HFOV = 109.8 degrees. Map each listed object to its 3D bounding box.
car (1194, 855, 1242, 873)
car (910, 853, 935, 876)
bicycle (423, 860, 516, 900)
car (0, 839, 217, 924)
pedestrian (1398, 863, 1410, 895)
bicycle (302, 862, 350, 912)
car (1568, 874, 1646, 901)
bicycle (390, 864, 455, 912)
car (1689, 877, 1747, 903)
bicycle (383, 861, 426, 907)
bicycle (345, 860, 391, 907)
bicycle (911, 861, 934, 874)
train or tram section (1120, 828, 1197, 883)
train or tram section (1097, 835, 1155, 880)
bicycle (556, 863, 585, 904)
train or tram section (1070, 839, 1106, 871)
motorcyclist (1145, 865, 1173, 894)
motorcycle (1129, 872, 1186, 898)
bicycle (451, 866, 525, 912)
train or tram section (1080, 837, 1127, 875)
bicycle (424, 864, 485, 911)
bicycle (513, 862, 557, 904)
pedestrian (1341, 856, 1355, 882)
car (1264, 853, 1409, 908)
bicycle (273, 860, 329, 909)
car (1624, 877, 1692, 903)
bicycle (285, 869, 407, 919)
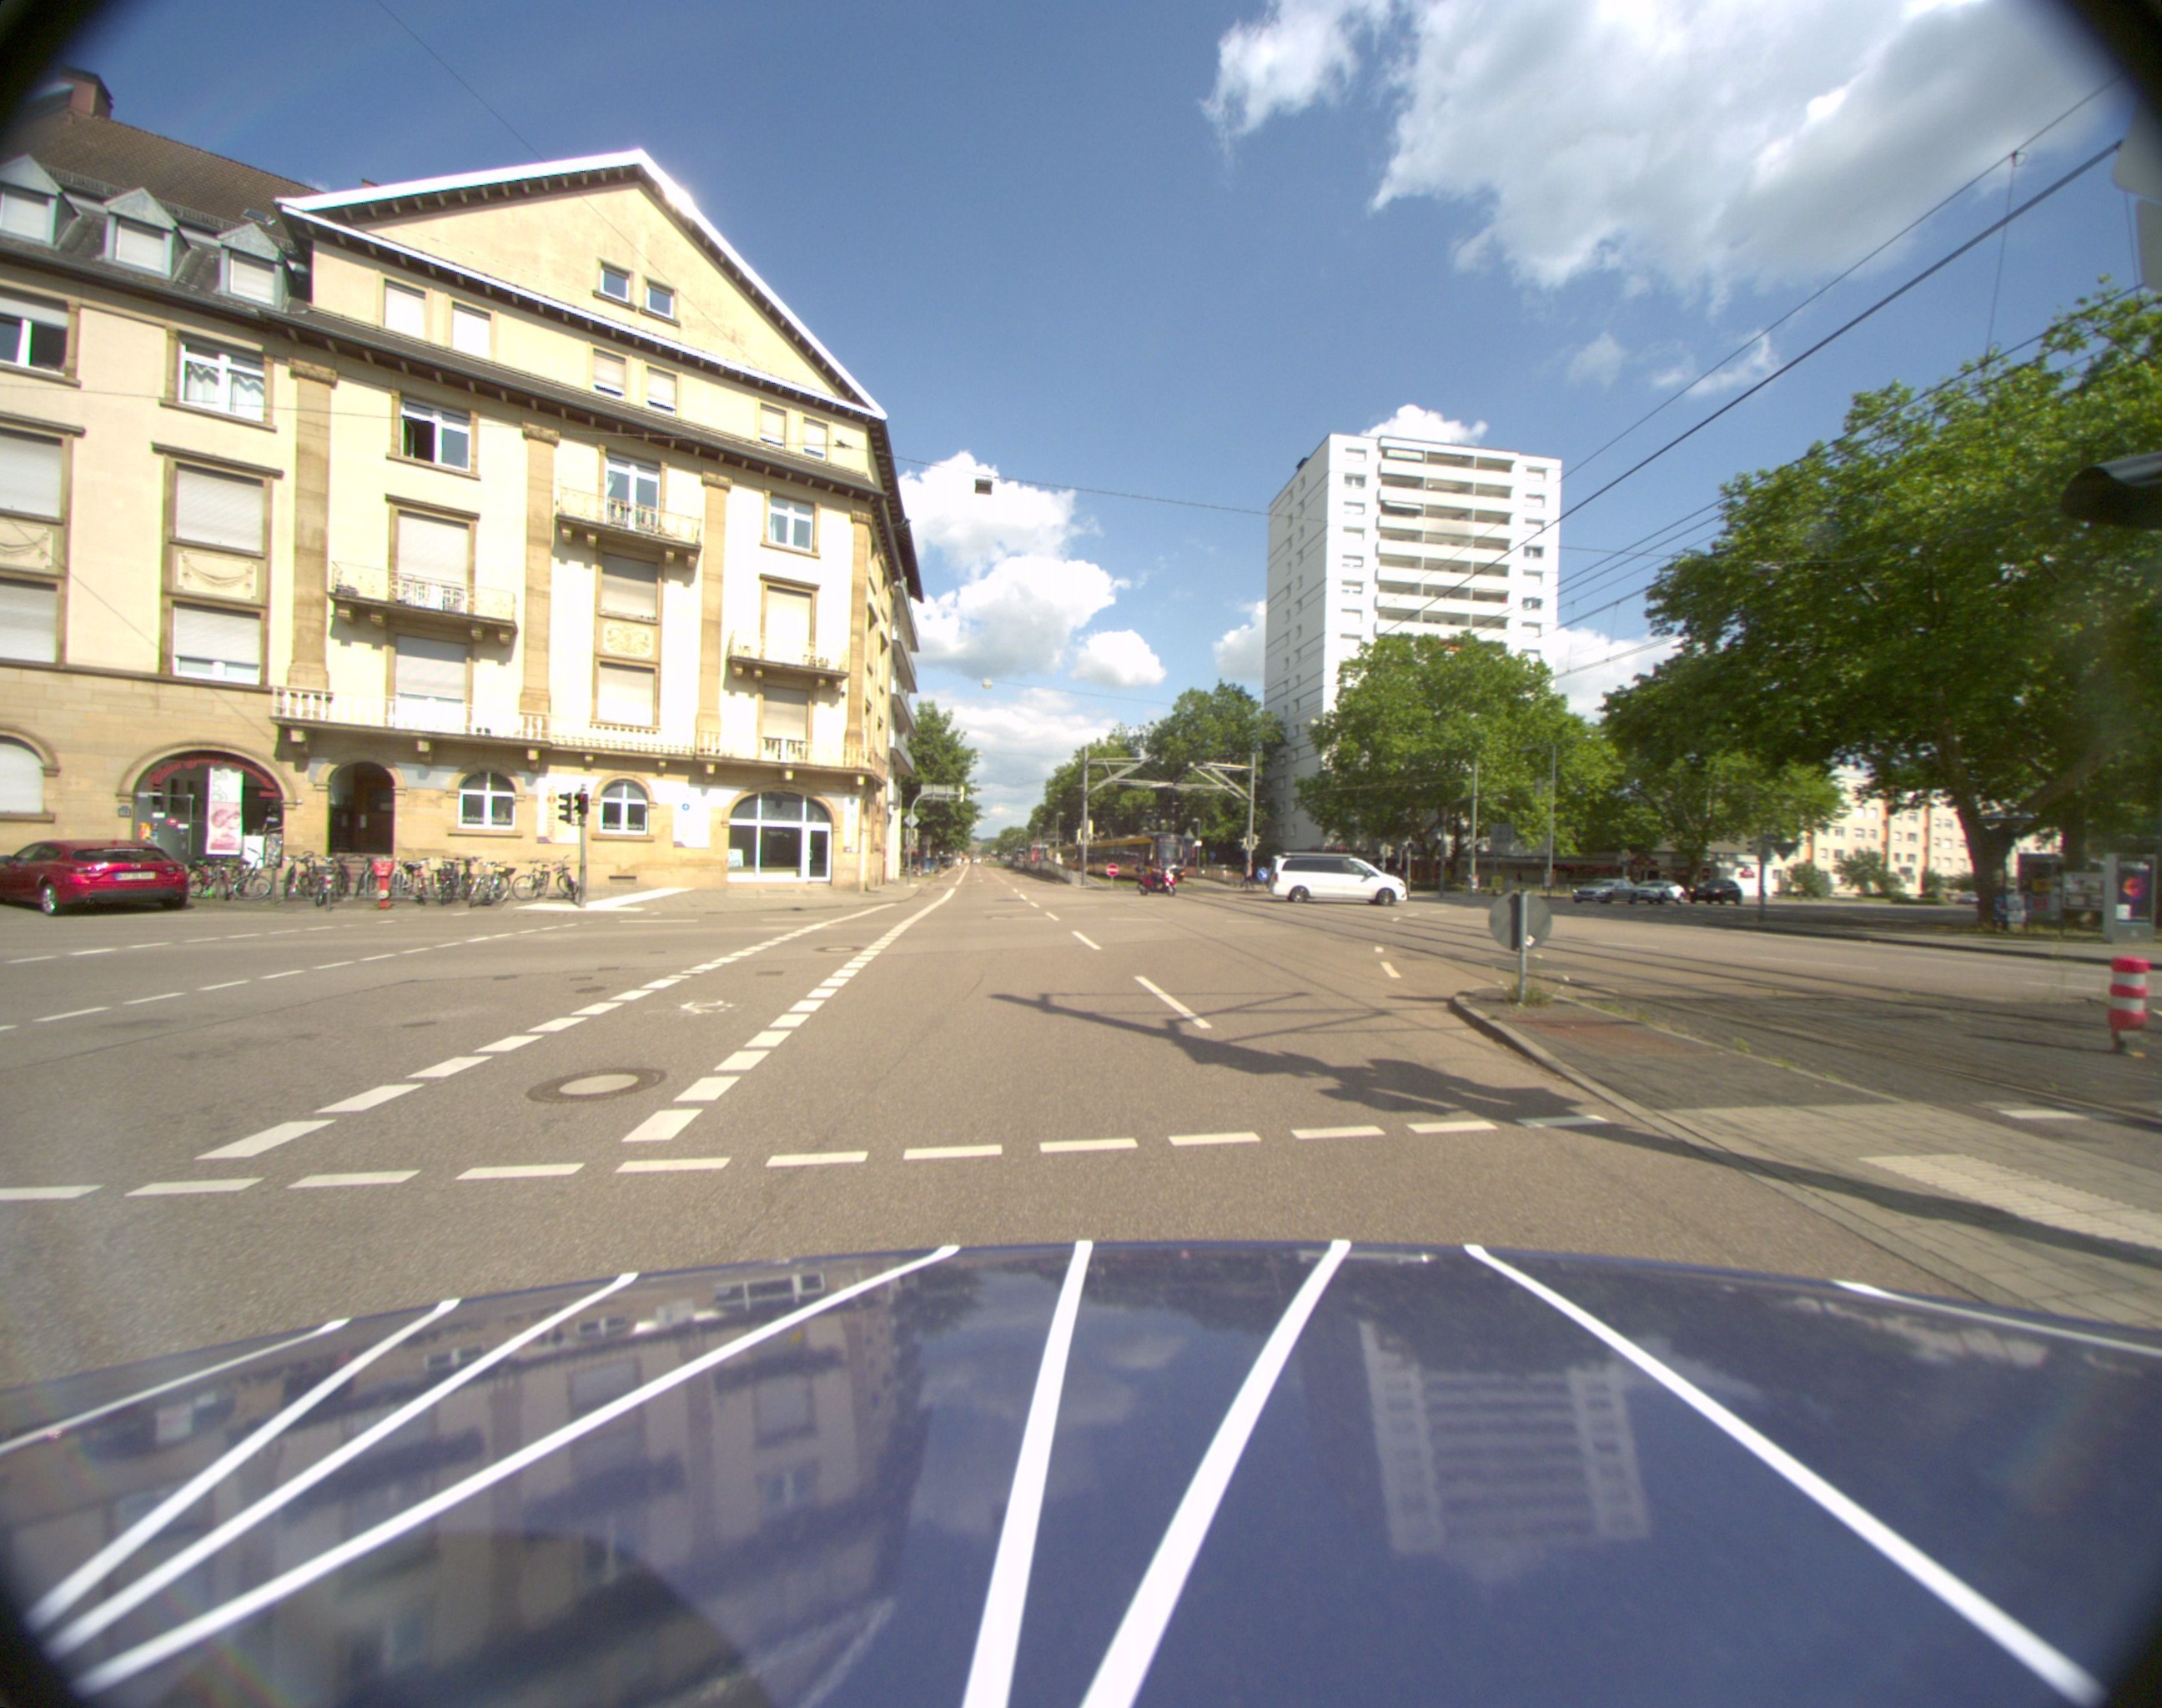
[{"bbox_3d":[12.164,0.897,67.802,1.865,1.481,3.838,1,0,-43],"label":"car"},{"bbox_3d":[-13.869,0.898,66.765,1.853,1.779,3.997,4,0,-9],"label":"car"},{"bbox_3d":[-16.758,0.717,20.873,1.932,1.013,0.539,2,3,-29],"label":"bicycle"},{"bbox_3d":[-20.707,0.503,16.046,3.990,1.433,1.971,3,2,21],"label":"car"},{"bbox_3d":[18.389,1.426,43.270,0.480,1.814,0.557,2,1,35],"label":"pedestrian"},{"bbox_3d":[-17.910,0.762,18.052,0.541,1.013,1.922,1,3,-37],"label":"bicycle"},{"bbox_3d":[30.201,1.926,43.654,4.006,1.481,1.857,2,0,-25],"label":"car"},{"bbox_3d":[-16.420,0.827,18.997,0.541,1.013,1.924,2,2,-19],"label":"bicycle"},{"bbox_3d":[42.722,2.378,50.945,4.007,1.610,1.686,1,0,-30],"label":"car"},{"bbox_3d":[-17.553,0.758,19.739,0.541,1.013,1.923,1,3,-33],"label":"bicycle"},{"bbox_3d":[-18.118,0.727,19.337,0.541,1.013,1.923,1,3,-33],"label":"bicycle"},{"bbox_3d":[-12.383,1.038,59.422,1.695,0.980,0.497,1,1,-11],"label":"bicycle"},{"bbox_3d":[5.364,0.221,55.330,2.805,3.539,11.369,1,-1,-9],"label":"train or tram section"},{"bbox_3d":[3.731,0.255,66.517,2.815,3.540,11.172,1,0,-8],"label":"train or tram section"},{"bbox_3d":[-14.468,0.817,21.526,0.611,1.013,1.871,1,2,-36],"label":"bicycle"},{"bbox_3d":[0.705,0.095,88.561,2.775,3.462,8.900,1,0,-8],"label":"train or tram section"},{"bbox_3d":[3.384,1.120,33.087,0.974,1.210,0.700,2,1,41],"label":"motorcyclist"},{"bbox_3d":[3.309,1.331,33.153,2.497,0.971,0.700,2,1,42],"label":"motorcycle"},{"bbox_3d":[-15.191,0.868,19.520,0.602,1.013,1.875,2,2,-7],"label":"bicycle"},{"bbox_3d":[2.131,0.171,78.100,2.815,3.540,12.146,1,0,-8],"label":"train or tram section"},{"bbox_3d":[-15.968,0.831,19.401,0.541,1.013,1.924,2,2,-19],"label":"bicycle"},{"bbox_3d":[-15.168,0.781,21.158,0.611,1.013,1.872,2,2,-24],"label":"bicycle"},{"bbox_3d":[16.276,0.914,46.375,0.513,1.588,0.555,1,1,-29],"label":"pedestrian"},{"bbox_3d":[9.906,1.005,29.887,5.162,1.880,2.002,2,0,11],"label":"car"},{"bbox_3d":[-18.915,0.710,18.456,0.541,1.013,1.923,1,3,-33],"label":"bicycle"},{"bbox_3d":[35.715,2.211,47.019,4.083,1.481,1.856,2,0,-29],"label":"car"},{"bbox_3d":[-16.554,0.874,17.157,0.538,1.013,1.933,5,3,41],"label":"bicycle"}]
